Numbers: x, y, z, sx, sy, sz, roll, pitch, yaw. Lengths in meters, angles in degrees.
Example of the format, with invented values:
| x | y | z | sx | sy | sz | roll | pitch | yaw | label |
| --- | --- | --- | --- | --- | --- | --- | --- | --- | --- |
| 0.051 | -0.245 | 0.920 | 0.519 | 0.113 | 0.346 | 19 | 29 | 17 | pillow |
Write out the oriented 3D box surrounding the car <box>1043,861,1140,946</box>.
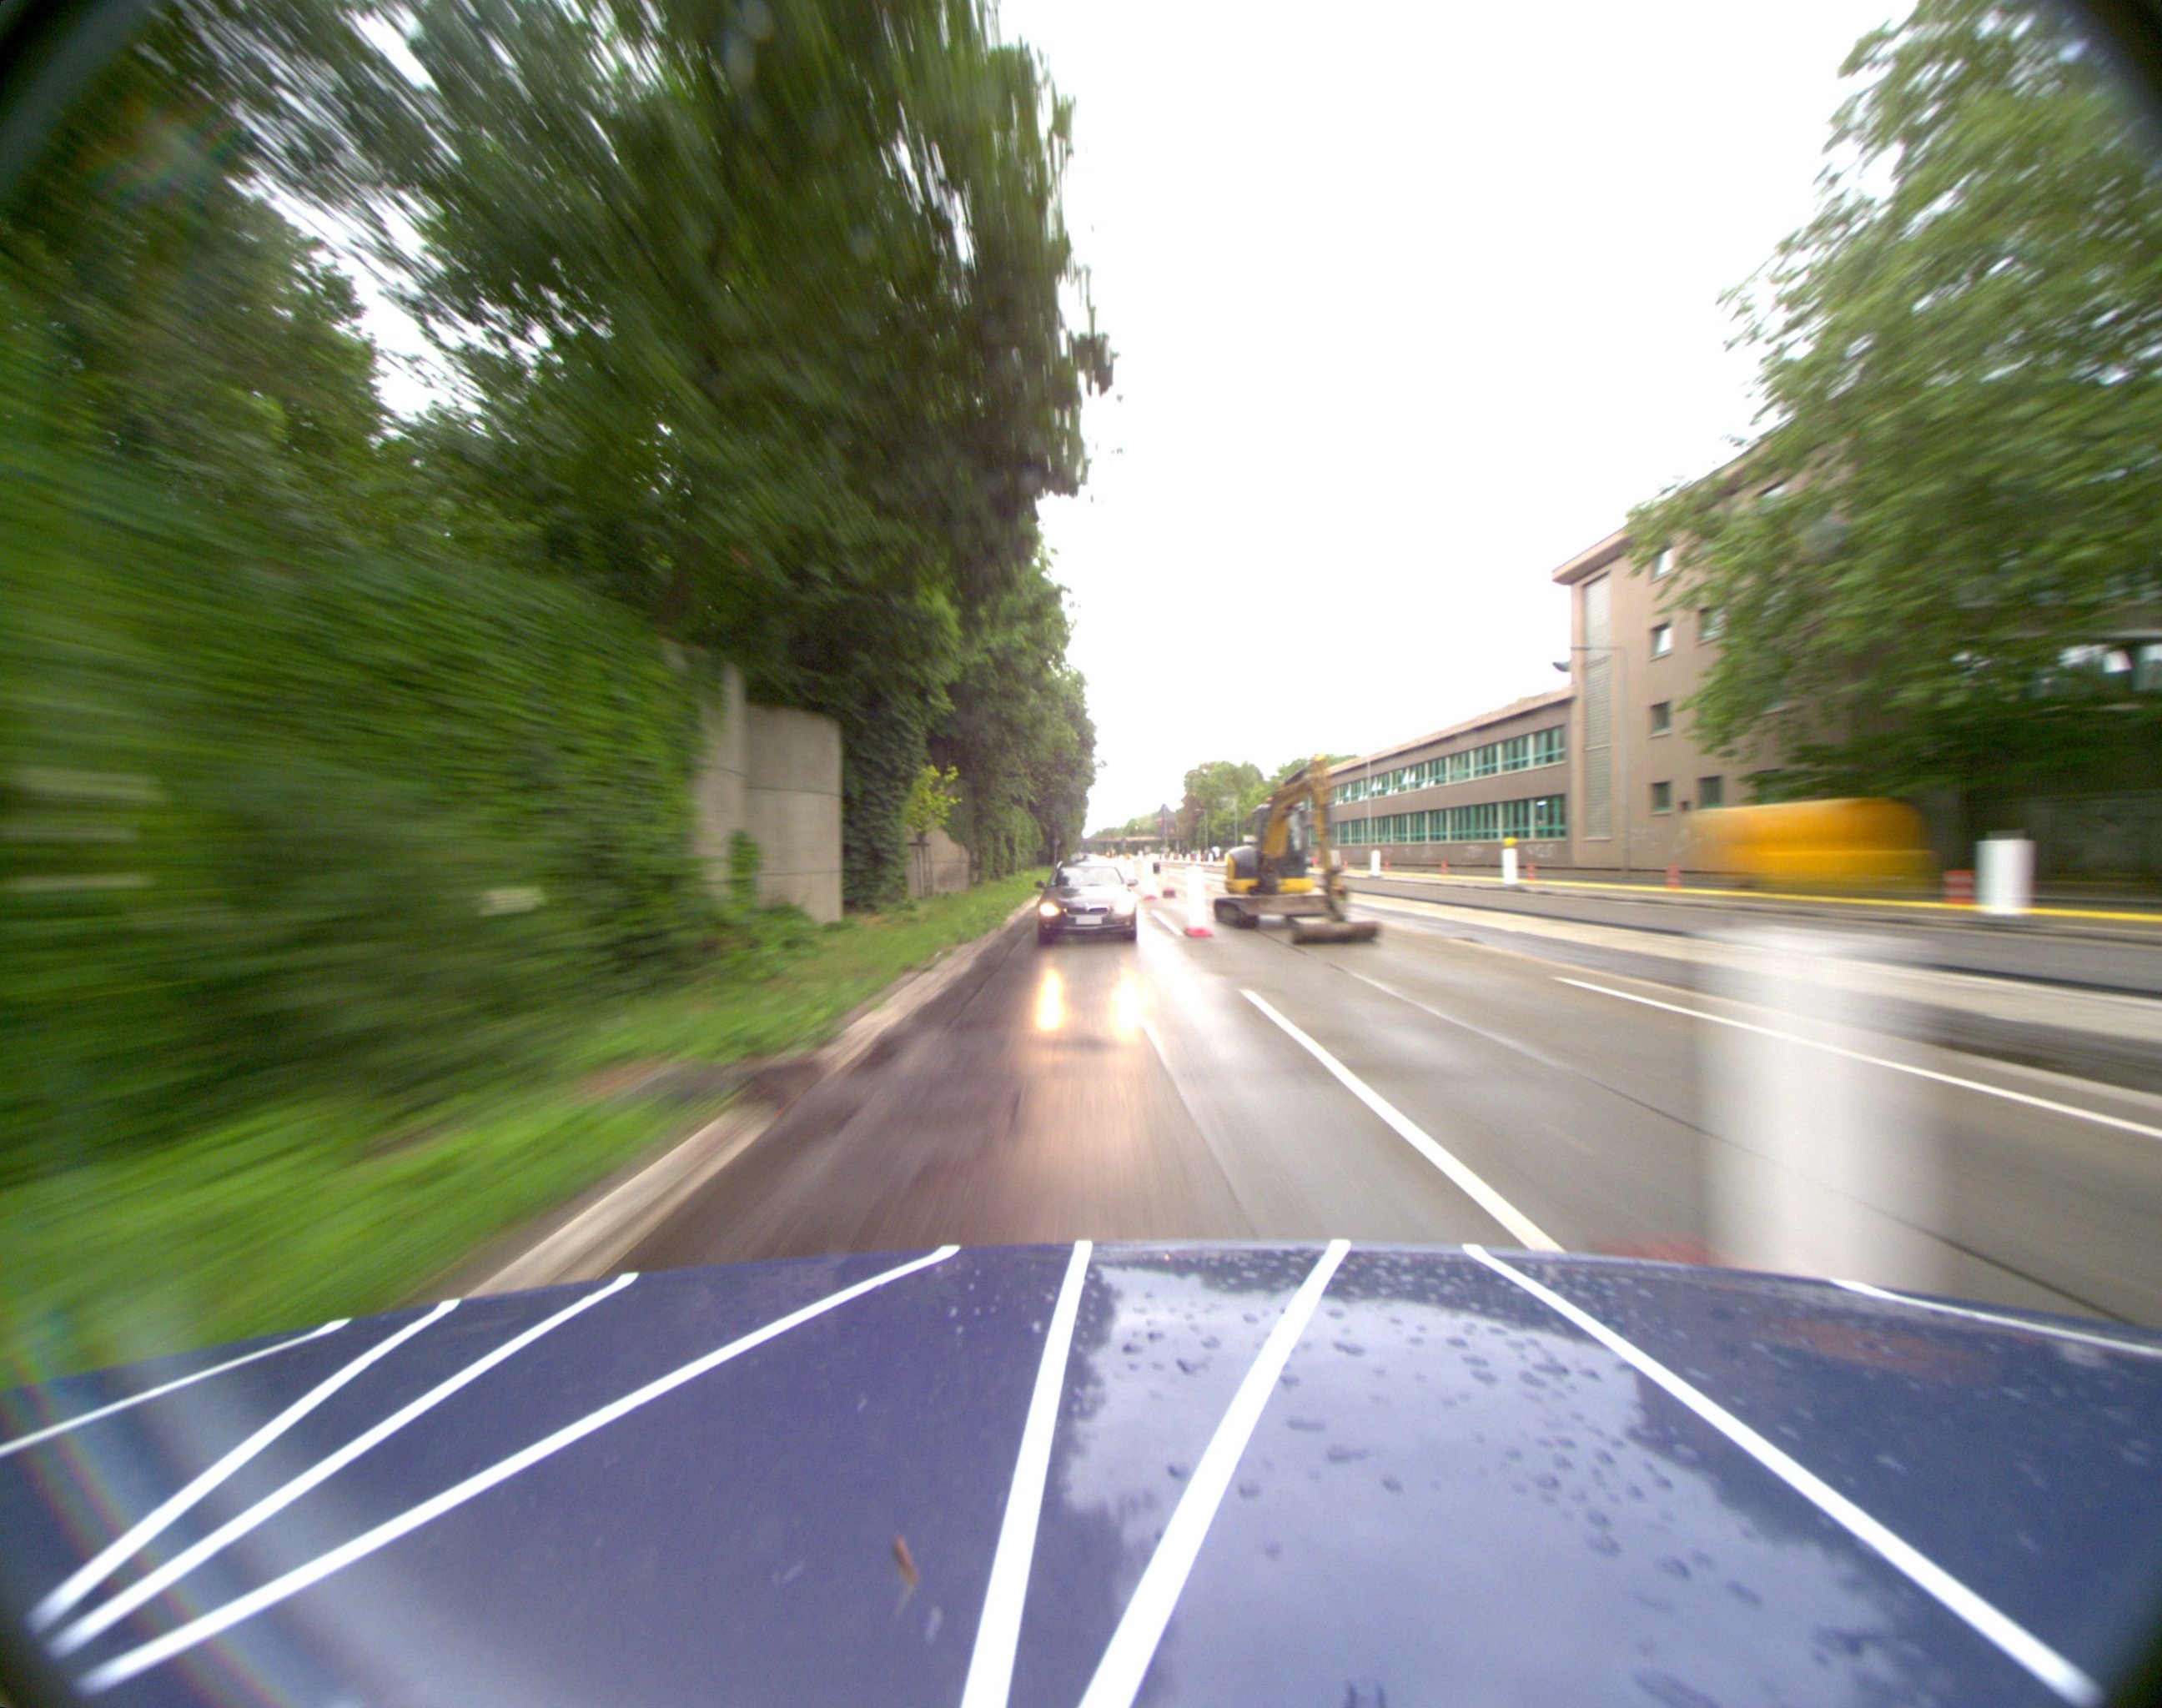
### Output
| x | y | z | sx | sy | sz | roll | pitch | yaw | label |
| --- | --- | --- | --- | --- | --- | --- | --- | --- | --- |
| 0.218 | 0.928 | 16.133 | 1.742 | 1.454 | 4.458 | -1 | 0 | 1 | car |

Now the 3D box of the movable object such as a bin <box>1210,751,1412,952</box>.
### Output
| x | y | z | sx | sy | sz | roll | pitch | yaw | label |
| --- | --- | --- | --- | --- | --- | --- | --- | --- | --- |
| 4.072 | -0.055 | 14.667 | 1.999 | 3.084 | 5.623 | -1 | 0 | -2 | movable object such as a bin |

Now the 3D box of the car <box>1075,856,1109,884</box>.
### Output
| x | y | z | sx | sy | sz | roll | pitch | yaw | label |
| --- | --- | --- | --- | --- | --- | --- | --- | --- | --- |
| 0.638 | 0.860 | 42.551 | 1.742 | 1.454 | 4.458 | -1 | 0 | 1 | car |
